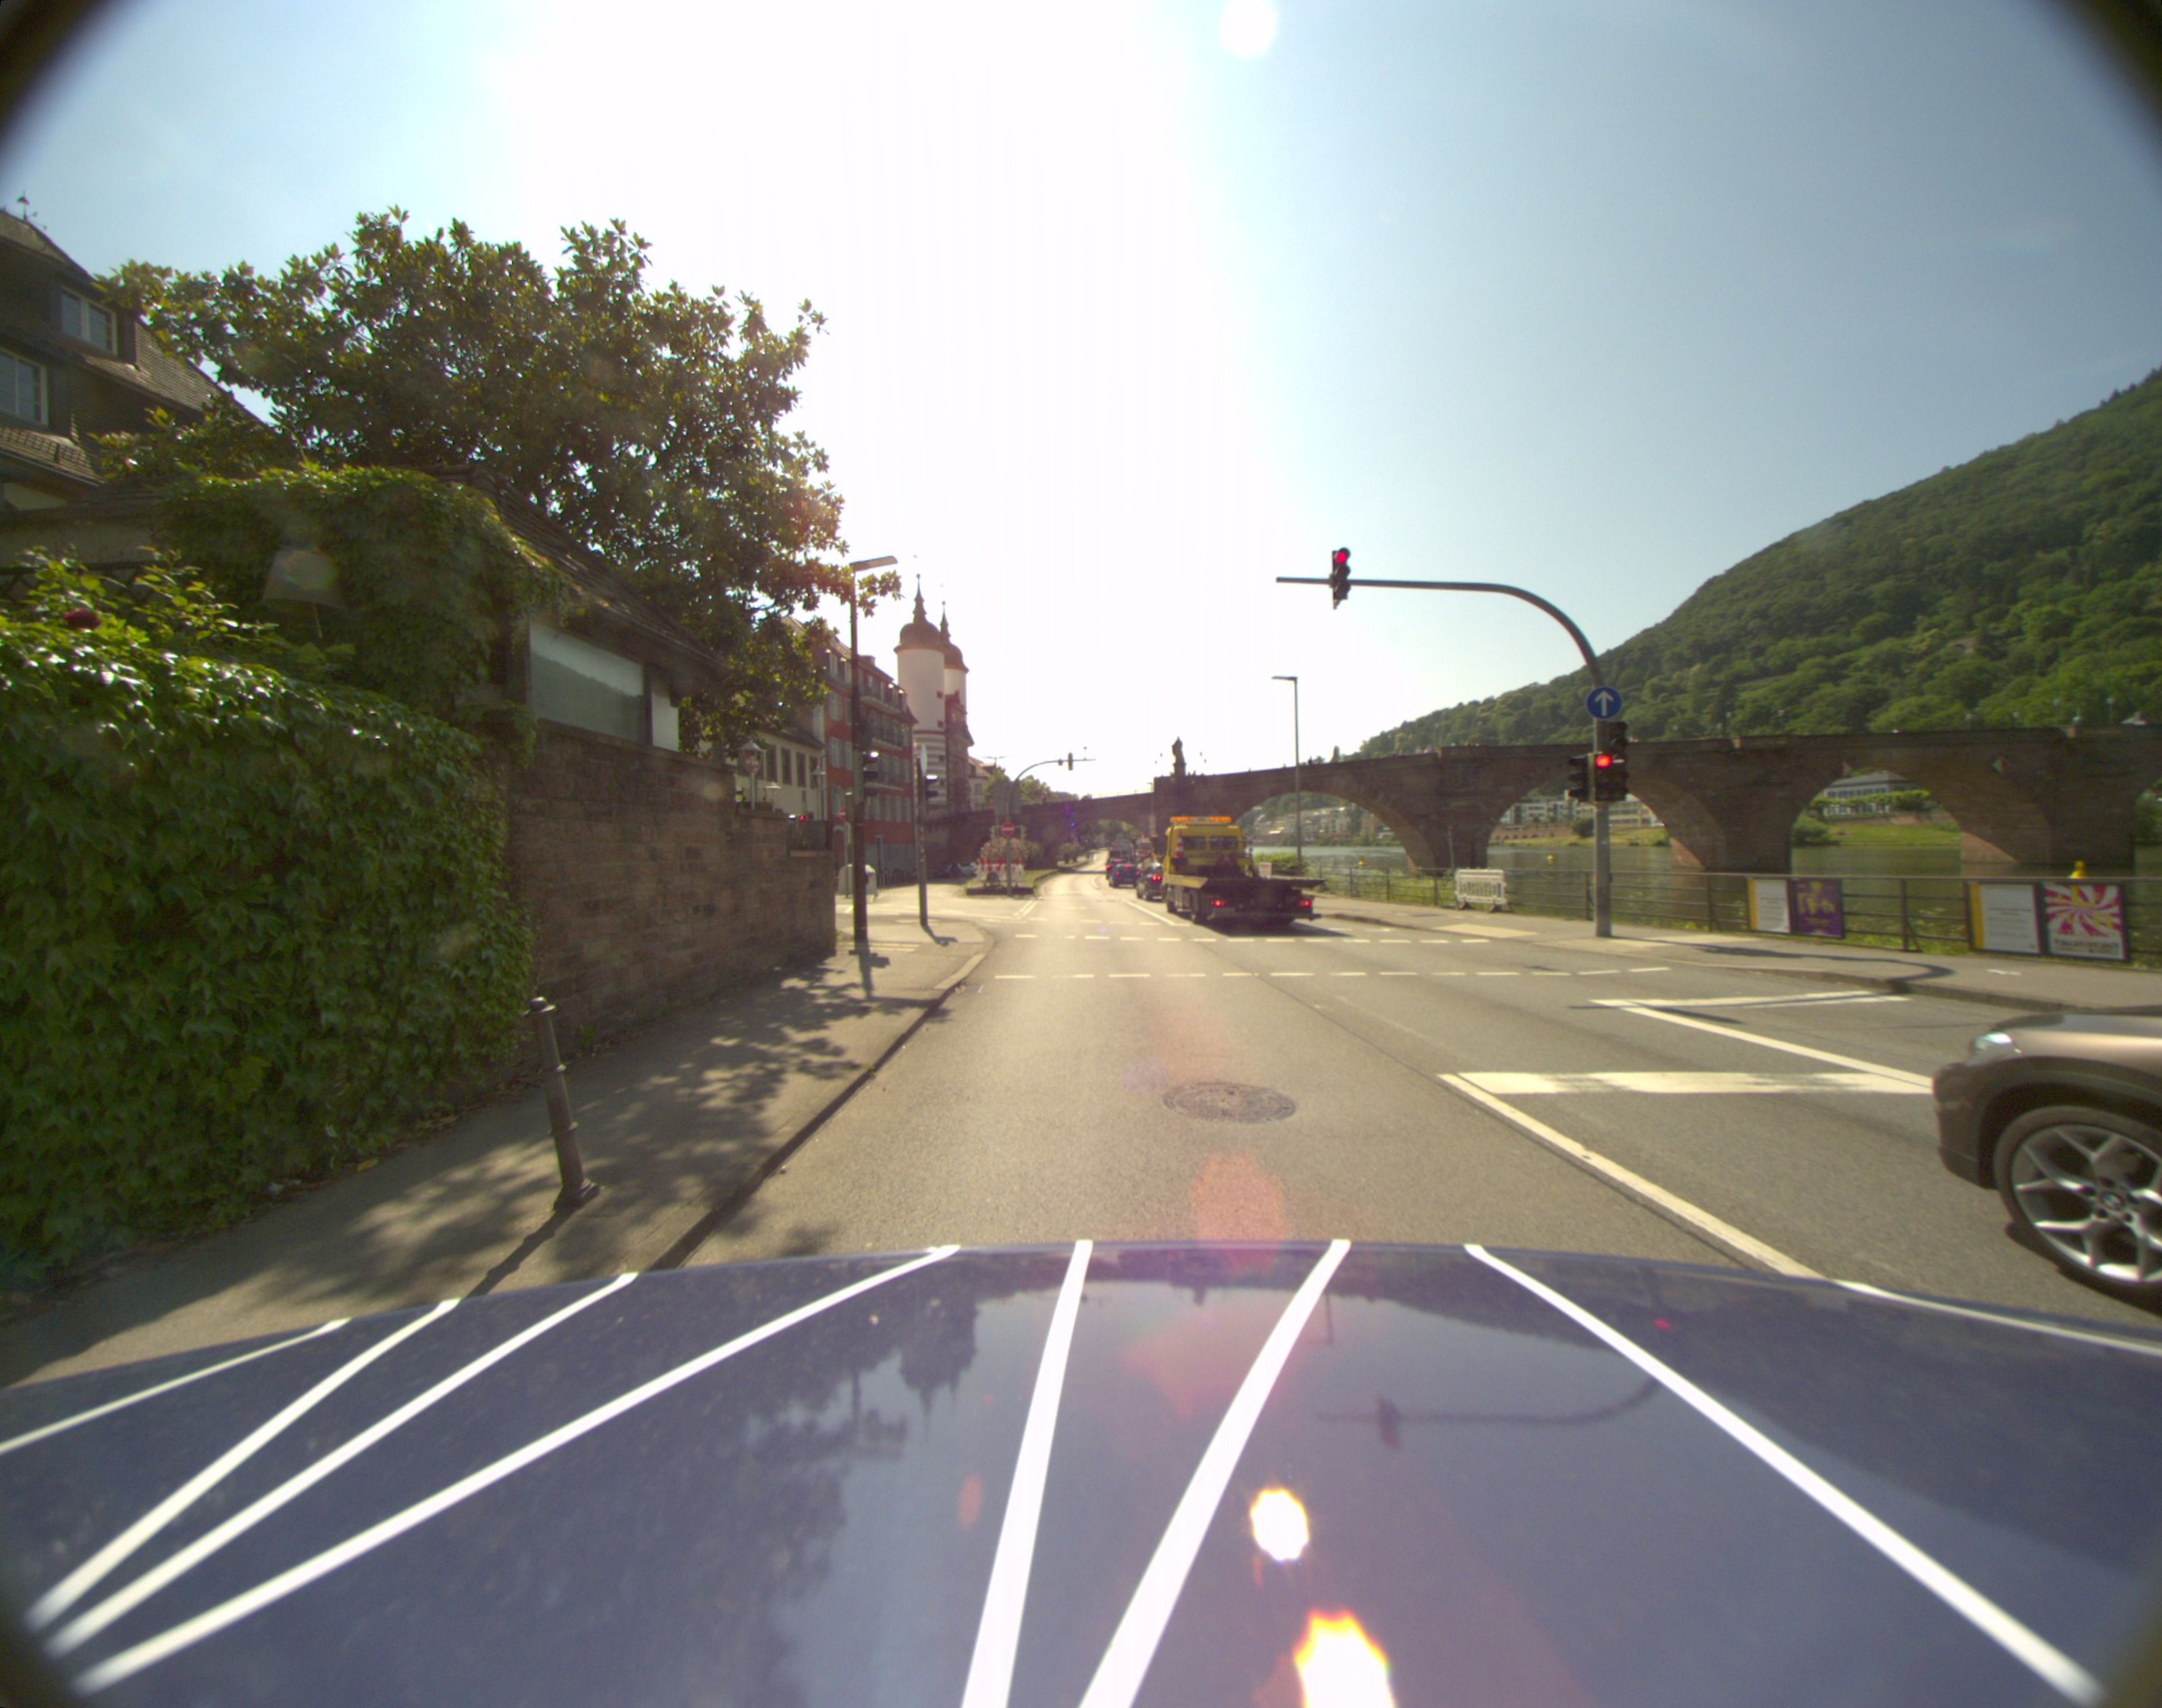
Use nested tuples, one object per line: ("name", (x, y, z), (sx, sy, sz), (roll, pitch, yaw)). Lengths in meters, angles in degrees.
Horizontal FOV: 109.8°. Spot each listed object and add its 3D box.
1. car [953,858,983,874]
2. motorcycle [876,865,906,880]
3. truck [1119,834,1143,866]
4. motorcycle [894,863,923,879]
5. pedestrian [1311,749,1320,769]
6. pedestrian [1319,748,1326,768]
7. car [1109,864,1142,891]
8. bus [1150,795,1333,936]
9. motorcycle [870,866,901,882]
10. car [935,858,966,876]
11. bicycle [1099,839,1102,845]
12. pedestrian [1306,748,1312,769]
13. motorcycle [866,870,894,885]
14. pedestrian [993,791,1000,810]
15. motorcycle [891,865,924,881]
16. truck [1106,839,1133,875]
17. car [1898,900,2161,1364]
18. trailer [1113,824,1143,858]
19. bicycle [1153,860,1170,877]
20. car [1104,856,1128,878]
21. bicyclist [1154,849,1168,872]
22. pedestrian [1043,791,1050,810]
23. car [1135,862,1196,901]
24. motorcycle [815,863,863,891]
("car", (-11.680, 1.252, 78.856), (1.896, 1.484, 4.418), (0, 1, 8))
("motorcycle", (-14.807, 1.416, 59.372), (2.202, 1.070, 0.626), (-1, 1, -40))
("truck", (6.200, -0.507, 93.212), (2.529, 3.727, 6.249), (1, 1, 7))
("motorcycle", (-13.998, 1.393, 61.611), (2.157, 1.226, 0.840), (-1, 0, -37))
("pedestrian", (23.821, -9.658, 77.331), (0.695, 2.002, 0.625), (0, 2, -1))
("pedestrian", (24.572, -9.726, 77.200), (0.467, 2.002, 0.639), (0, 2, -1))
("car", (2.675, 1.484, 46.662), (1.733, 1.481, 4.328), (0, -3, 0))
("bus", (3.692, 0.322, 19.887), (2.604, 2.879, 8.446), (0, -1, -3))
("motorcycle", (-14.886, 1.534, 57.869), (2.202, 1.141, 0.626), (-1, 1, -40))
("car", (-12.704, 1.270, 74.150), (1.674, 1.533, 3.814), (-2, 1, 12))
("bicycle", (4.748, -2.956, 186.438), (0.476, 1.255, 2.163), (1, 2, 7))
("pedestrian", (23.225, -9.723, 77.401), (0.467, 2.002, 0.639), (0, 2, -1))
("motorcycle", (-14.841, 1.729, 56.234), (1.936, 0.981, 0.546), (-1, 1, -40))
("pedestrian", (-9.184, -5.806, 82.428), (0.640, 2.002, 0.707), (0, 2, 6))
("motorcycle", (-14.362, 1.580, 62.931), (2.548, 1.226, 0.840), (-1, 0, -37))
("truck", (3.689, 0.195, 72.914), (2.381, 3.243, 7.610), (0, 1, 3))
("car", (4.239, 0.858, 0.924), (1.820, 1.389, 4.346), (0, -1, 0))
("trailer", (5.434, -1.547, 86.354), (2.528, 3.623, 11.535), (0, 1, 7))
("bicycle", (6.006, 1.089, 56.668), (0.669, 1.107, 2.031), (-4, 3, -10))
("car", (2.802, 1.020, 61.555), (1.867, 1.671, 4.454), (0, 0, 1))
("bicyclist", (5.968, 0.497, 56.648), (0.669, 1.622, 0.979), (-4, 1, -10))
("pedestrian", (-3.773, -5.895, 83.931), (0.640, 2.002, 0.707), (0, 2, 6))
("car", (3.344, 1.062, 30.785), (1.813, 1.398, 4.356), (-1, 0, -2))
("motorcycle", (-14.343, 1.360, 45.114), (2.502, 1.524, 1.051), (-1, 1, -35))
